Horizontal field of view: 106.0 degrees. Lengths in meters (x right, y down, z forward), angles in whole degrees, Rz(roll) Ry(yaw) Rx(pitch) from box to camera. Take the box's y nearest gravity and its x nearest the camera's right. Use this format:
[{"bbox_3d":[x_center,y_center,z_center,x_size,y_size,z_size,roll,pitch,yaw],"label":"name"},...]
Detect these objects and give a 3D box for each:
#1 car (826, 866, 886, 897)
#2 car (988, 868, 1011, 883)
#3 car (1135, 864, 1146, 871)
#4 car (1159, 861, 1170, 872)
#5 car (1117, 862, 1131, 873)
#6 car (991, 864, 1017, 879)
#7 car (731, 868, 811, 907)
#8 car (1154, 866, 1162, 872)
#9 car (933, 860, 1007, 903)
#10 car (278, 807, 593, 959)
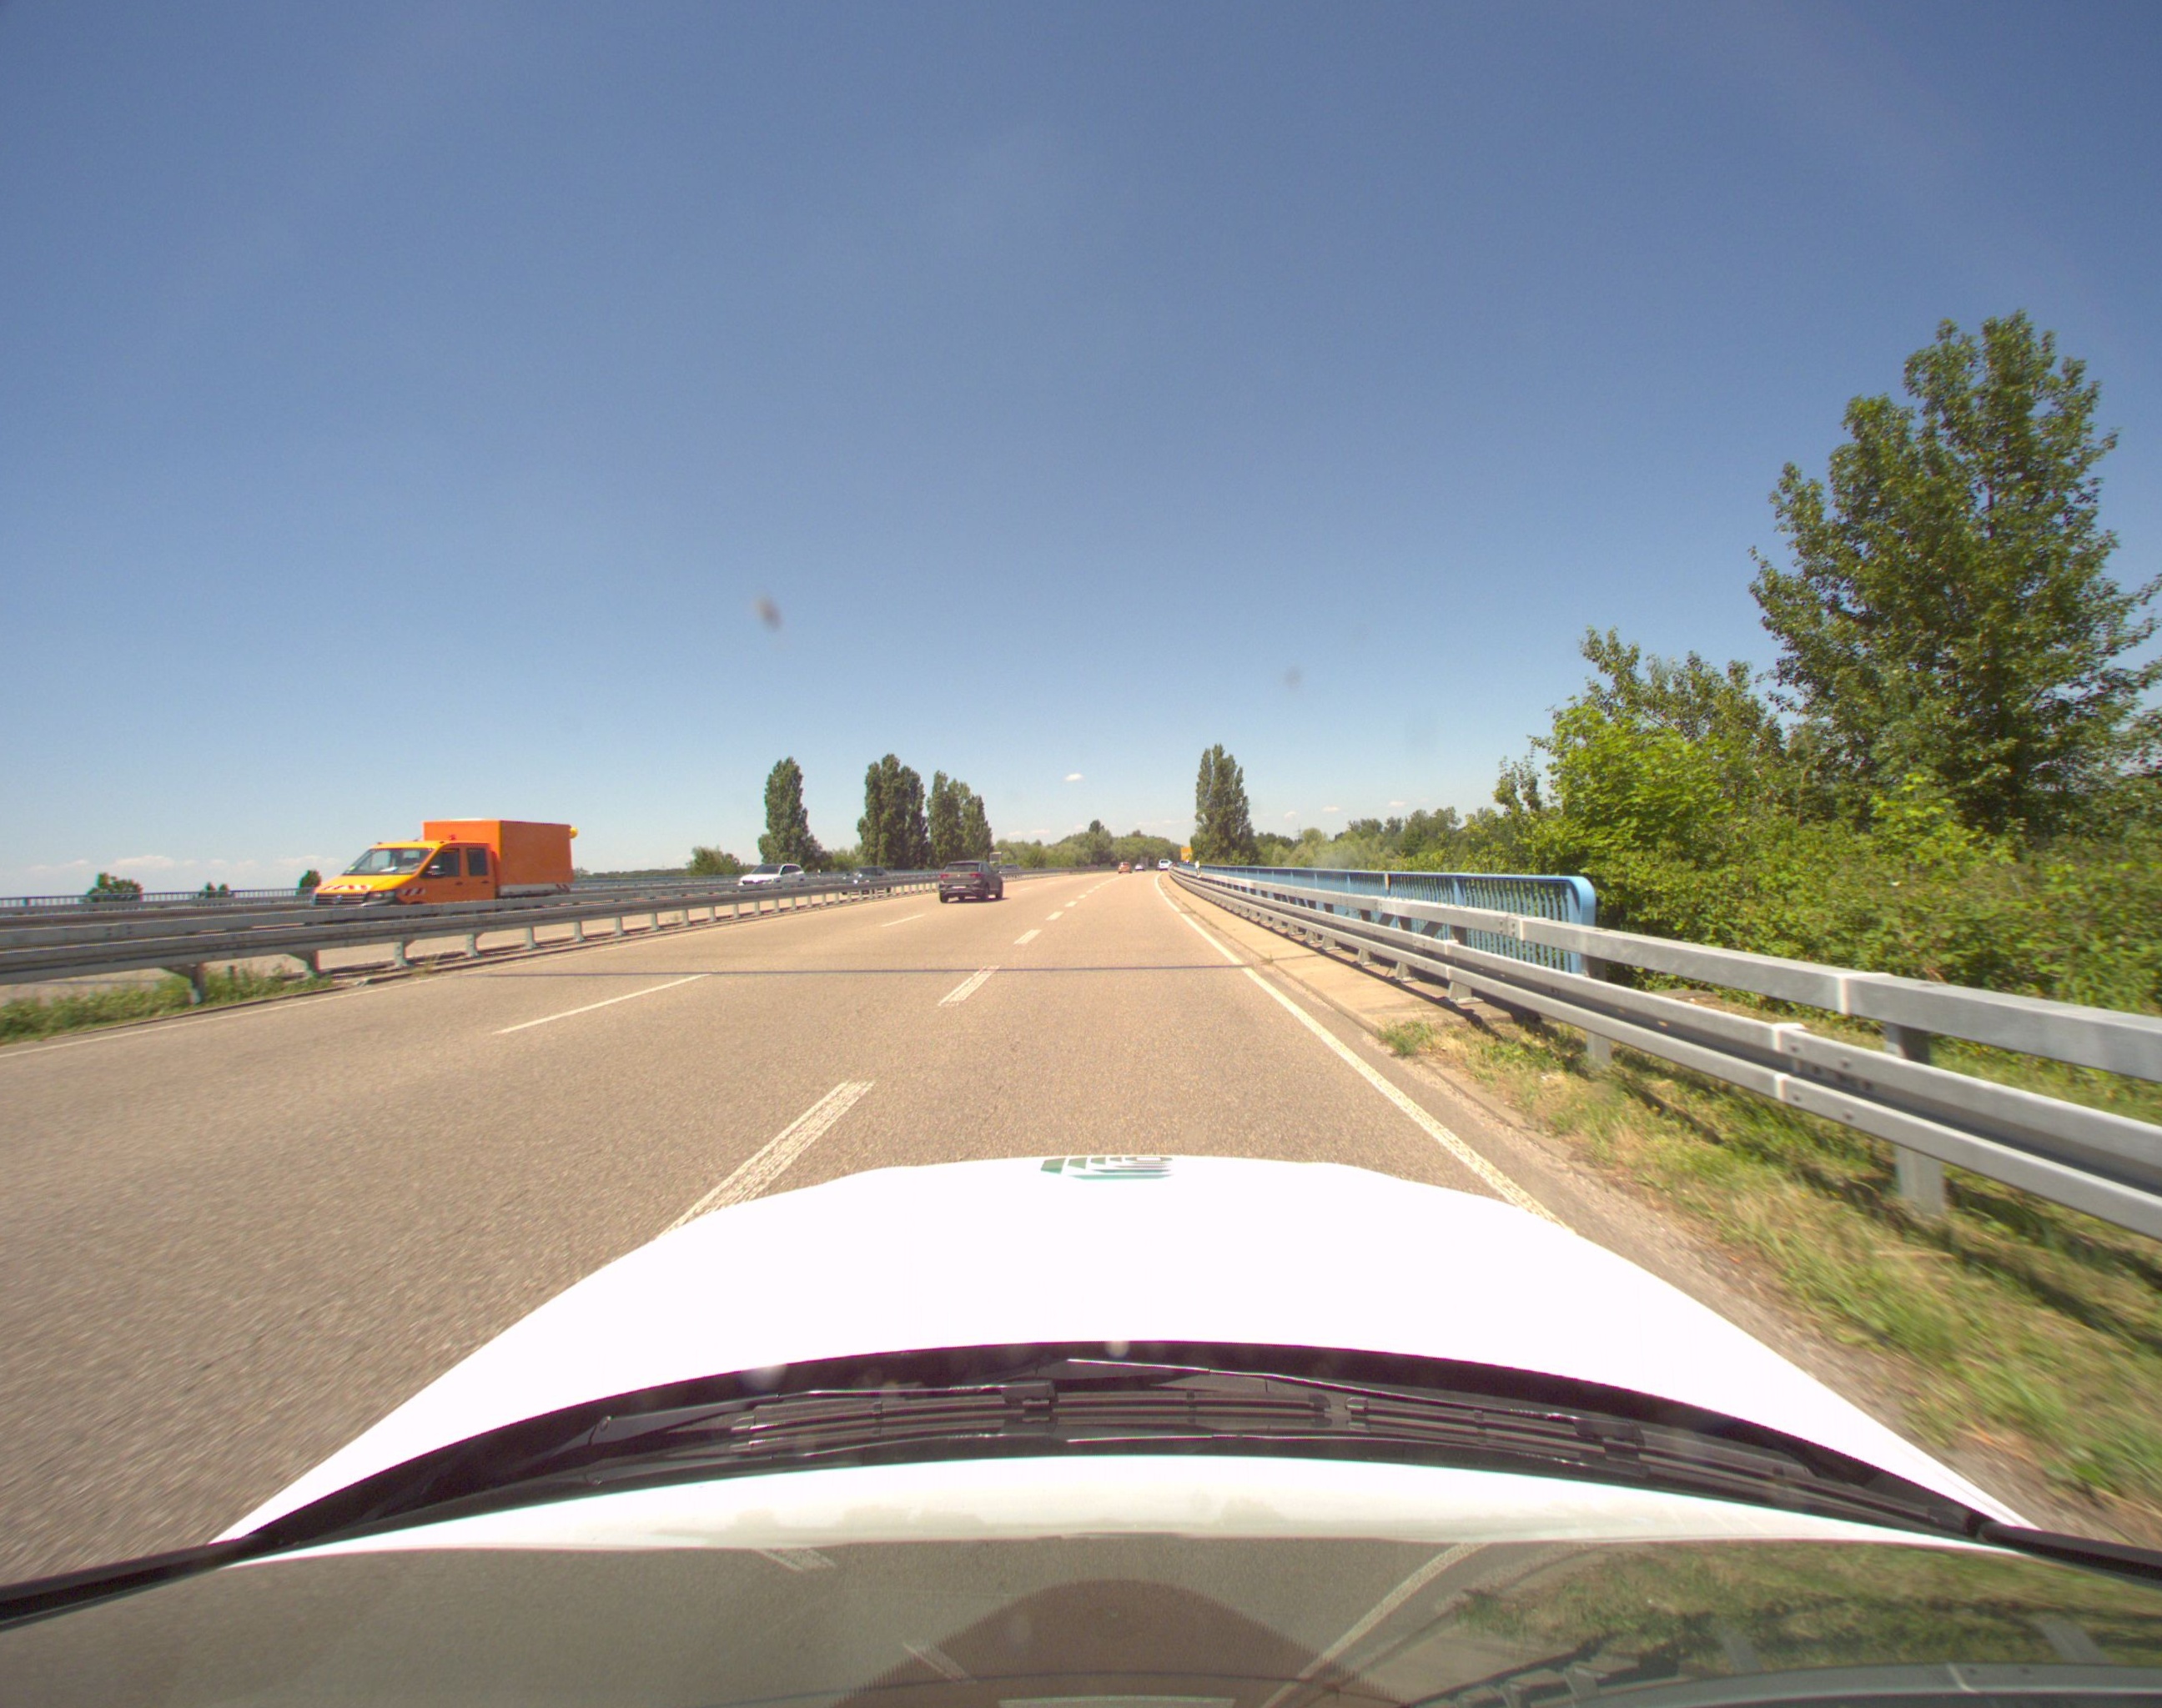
[{"bbox_3d":[-11.394,1.386,41.547,1.717,1.429,3.951,-2,-2,3],"label":"car"},{"bbox_3d":[-9.951,2.613,99.664,1.835,1.668,5.056,-2,-2,4],"label":"car"},{"bbox_3d":[12.299,2.793,168.665,1.830,1.451,4.011,-1,0,10],"label":"car"},{"bbox_3d":[14.475,2.176,140.695,1.831,1.895,4.008,-1,0,7],"label":"car"},{"bbox_3d":[5.895,1.827,111.087,1.834,1.464,4.003,-1,0,3],"label":"car"},{"bbox_3d":[-8.091,1.811,85.815,1.896,1.505,4.688,-1,0,4],"label":"car"},{"bbox_3d":[-15.562,1.651,41.163,1.844,1.818,4.801,-2,-2,5],"label":"car"},{"bbox_3d":[19.816,3.834,209.165,1.933,1.464,4.008,-1,0,7],"label":"car"},{"bbox_3d":[-4.203,1.020,31.661,1.832,1.530,4.477,-1,0,6],"label":"car"},{"bbox_3d":[-16.436,0.680,21.577,2.295,3.292,7.036,-2,-1,4],"label":"car"}]
